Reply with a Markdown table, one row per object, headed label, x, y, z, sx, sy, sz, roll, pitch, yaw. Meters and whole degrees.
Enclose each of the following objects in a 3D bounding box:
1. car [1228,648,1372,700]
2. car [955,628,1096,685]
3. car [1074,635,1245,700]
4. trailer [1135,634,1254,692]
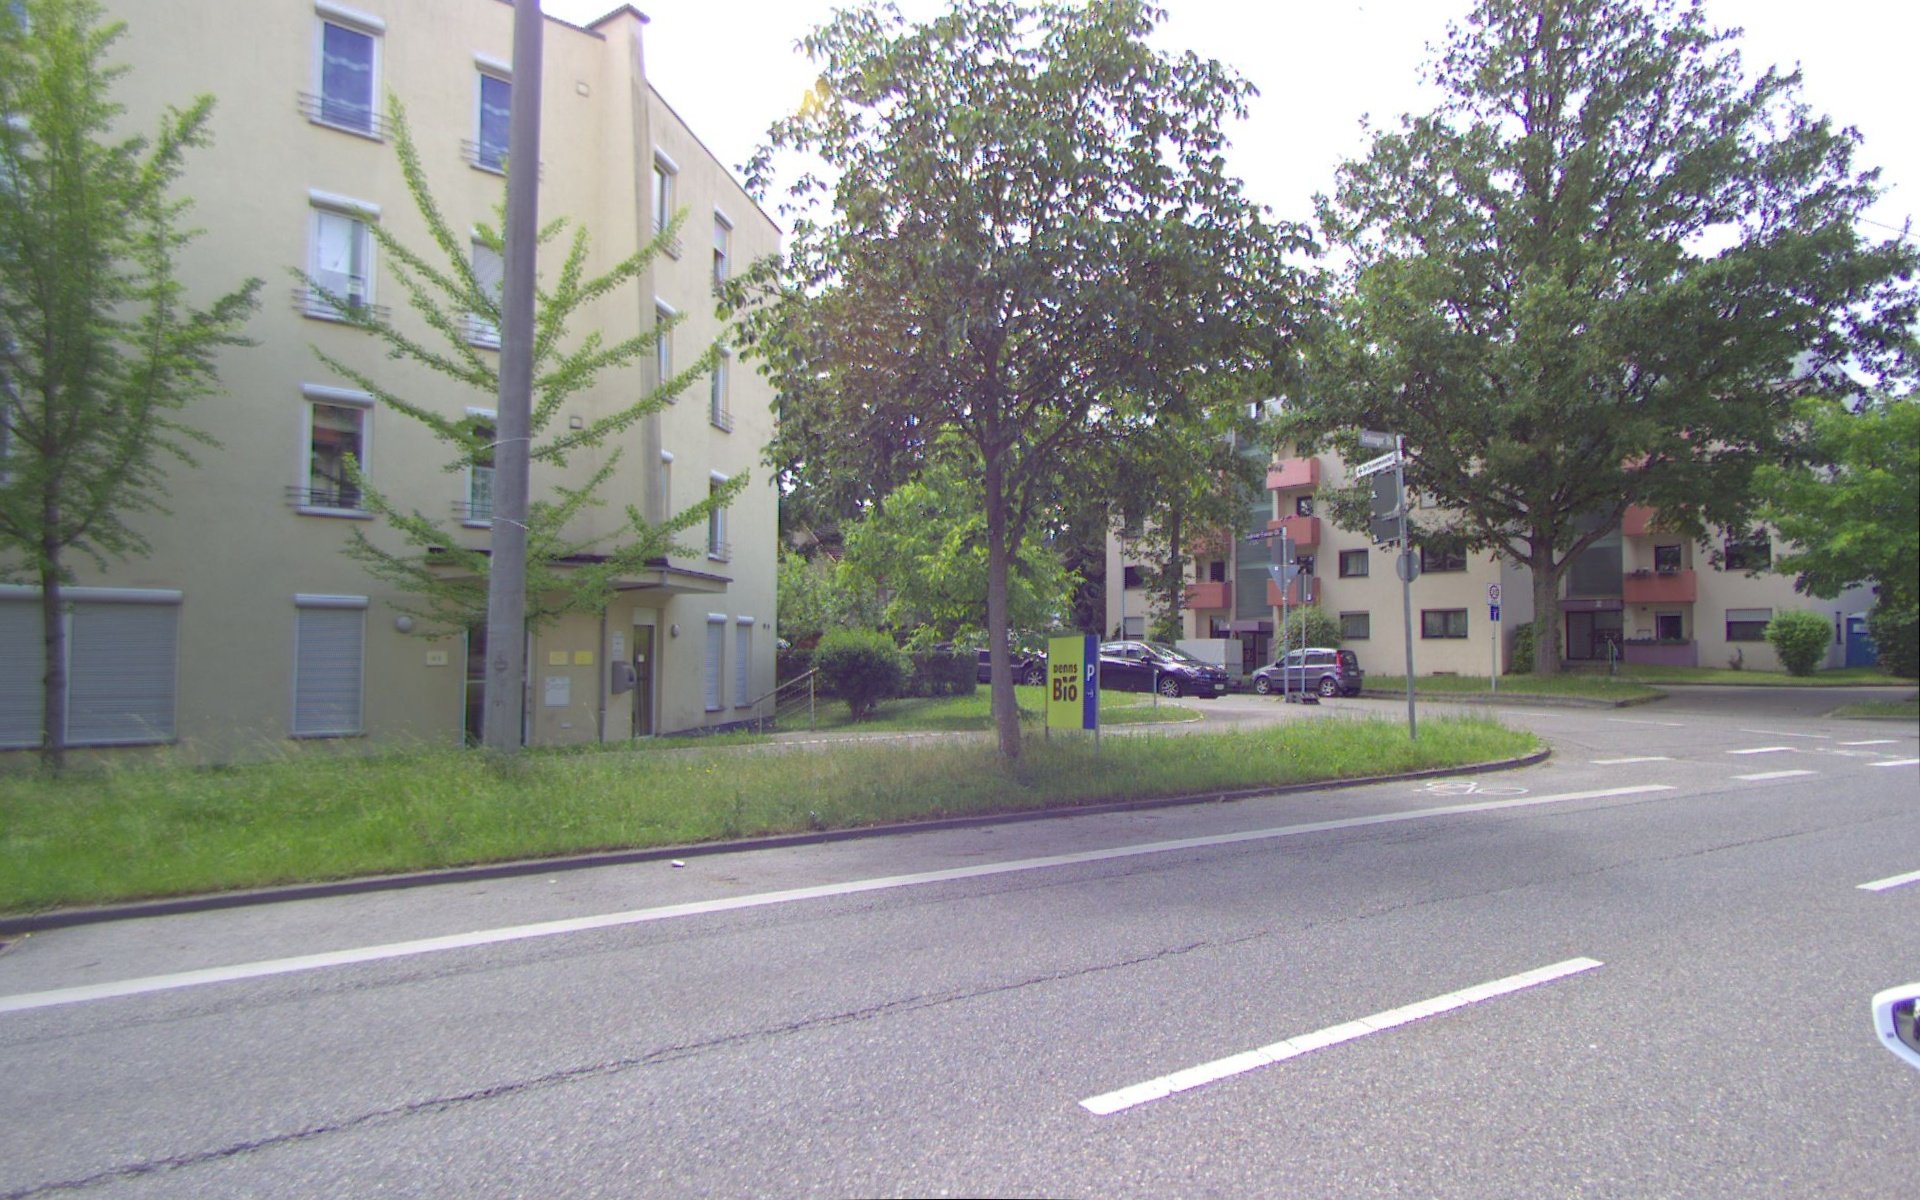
| label | x | y | z | sx | sy | sz | roll | pitch | yaw |
| --- | --- | --- | --- | --- | --- | --- | --- | --- | --- |
| car | 10.865 | 2.358 | 32.275 | 1.780 | 1.417 | 4.046 | 7 | -5 | -38 |
| car | 1.866 | 1.648 | 29.653 | 1.885 | 1.543 | 4.143 | 2 | -3 | -39 |
| car | 4.984 | 1.688 | 25.542 | 1.780 | 1.417 | 4.046 | 7 | -5 | -38 |
| trailer | 8.264 | 2.220 | 35.664 | 1.619 | 1.821 | 3.873 | 7 | -5 | -40 |
